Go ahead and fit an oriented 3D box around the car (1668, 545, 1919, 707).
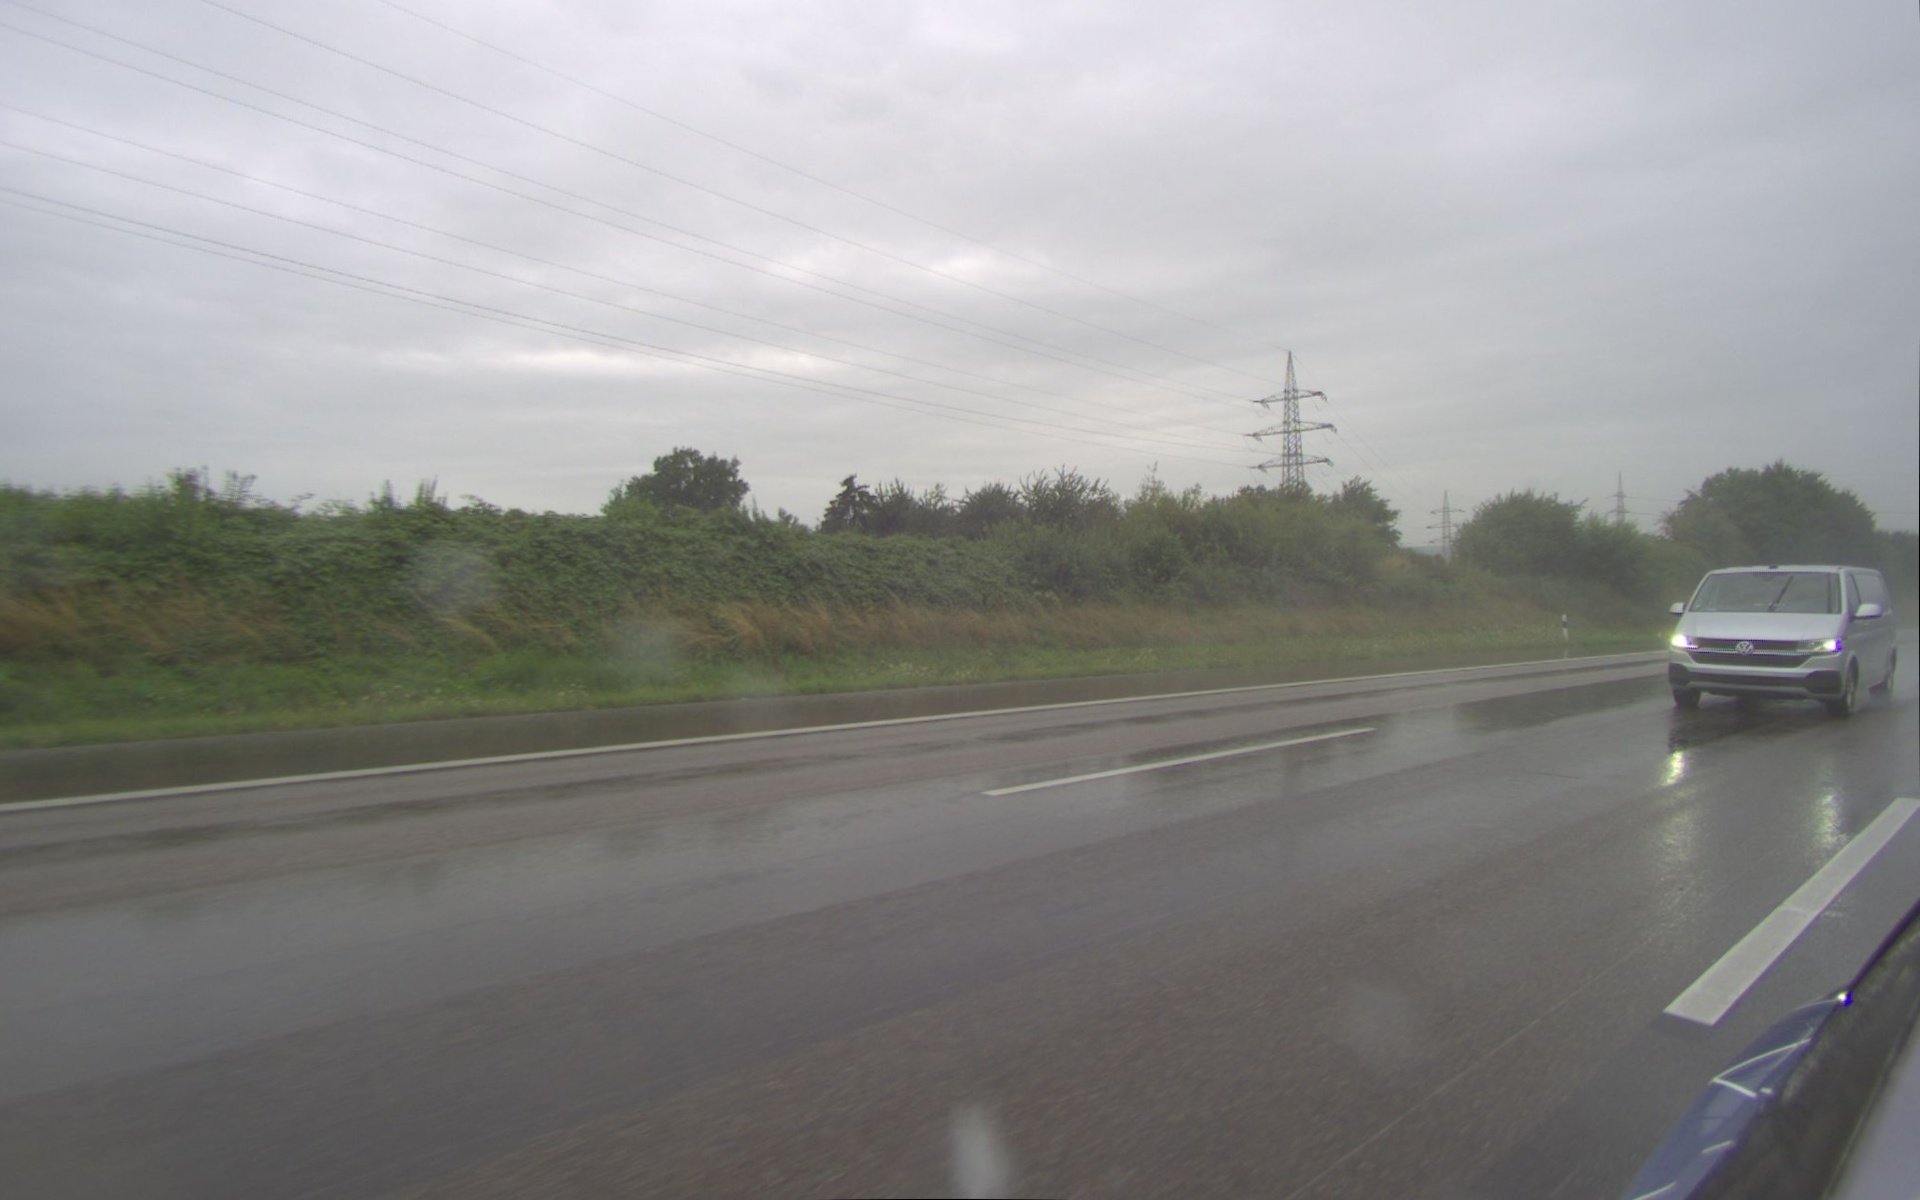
[{"bbox_3d":[11.881,0.321,14.244,4.920,1.908,1.891,0,-2,-40],"label":"car"}]
